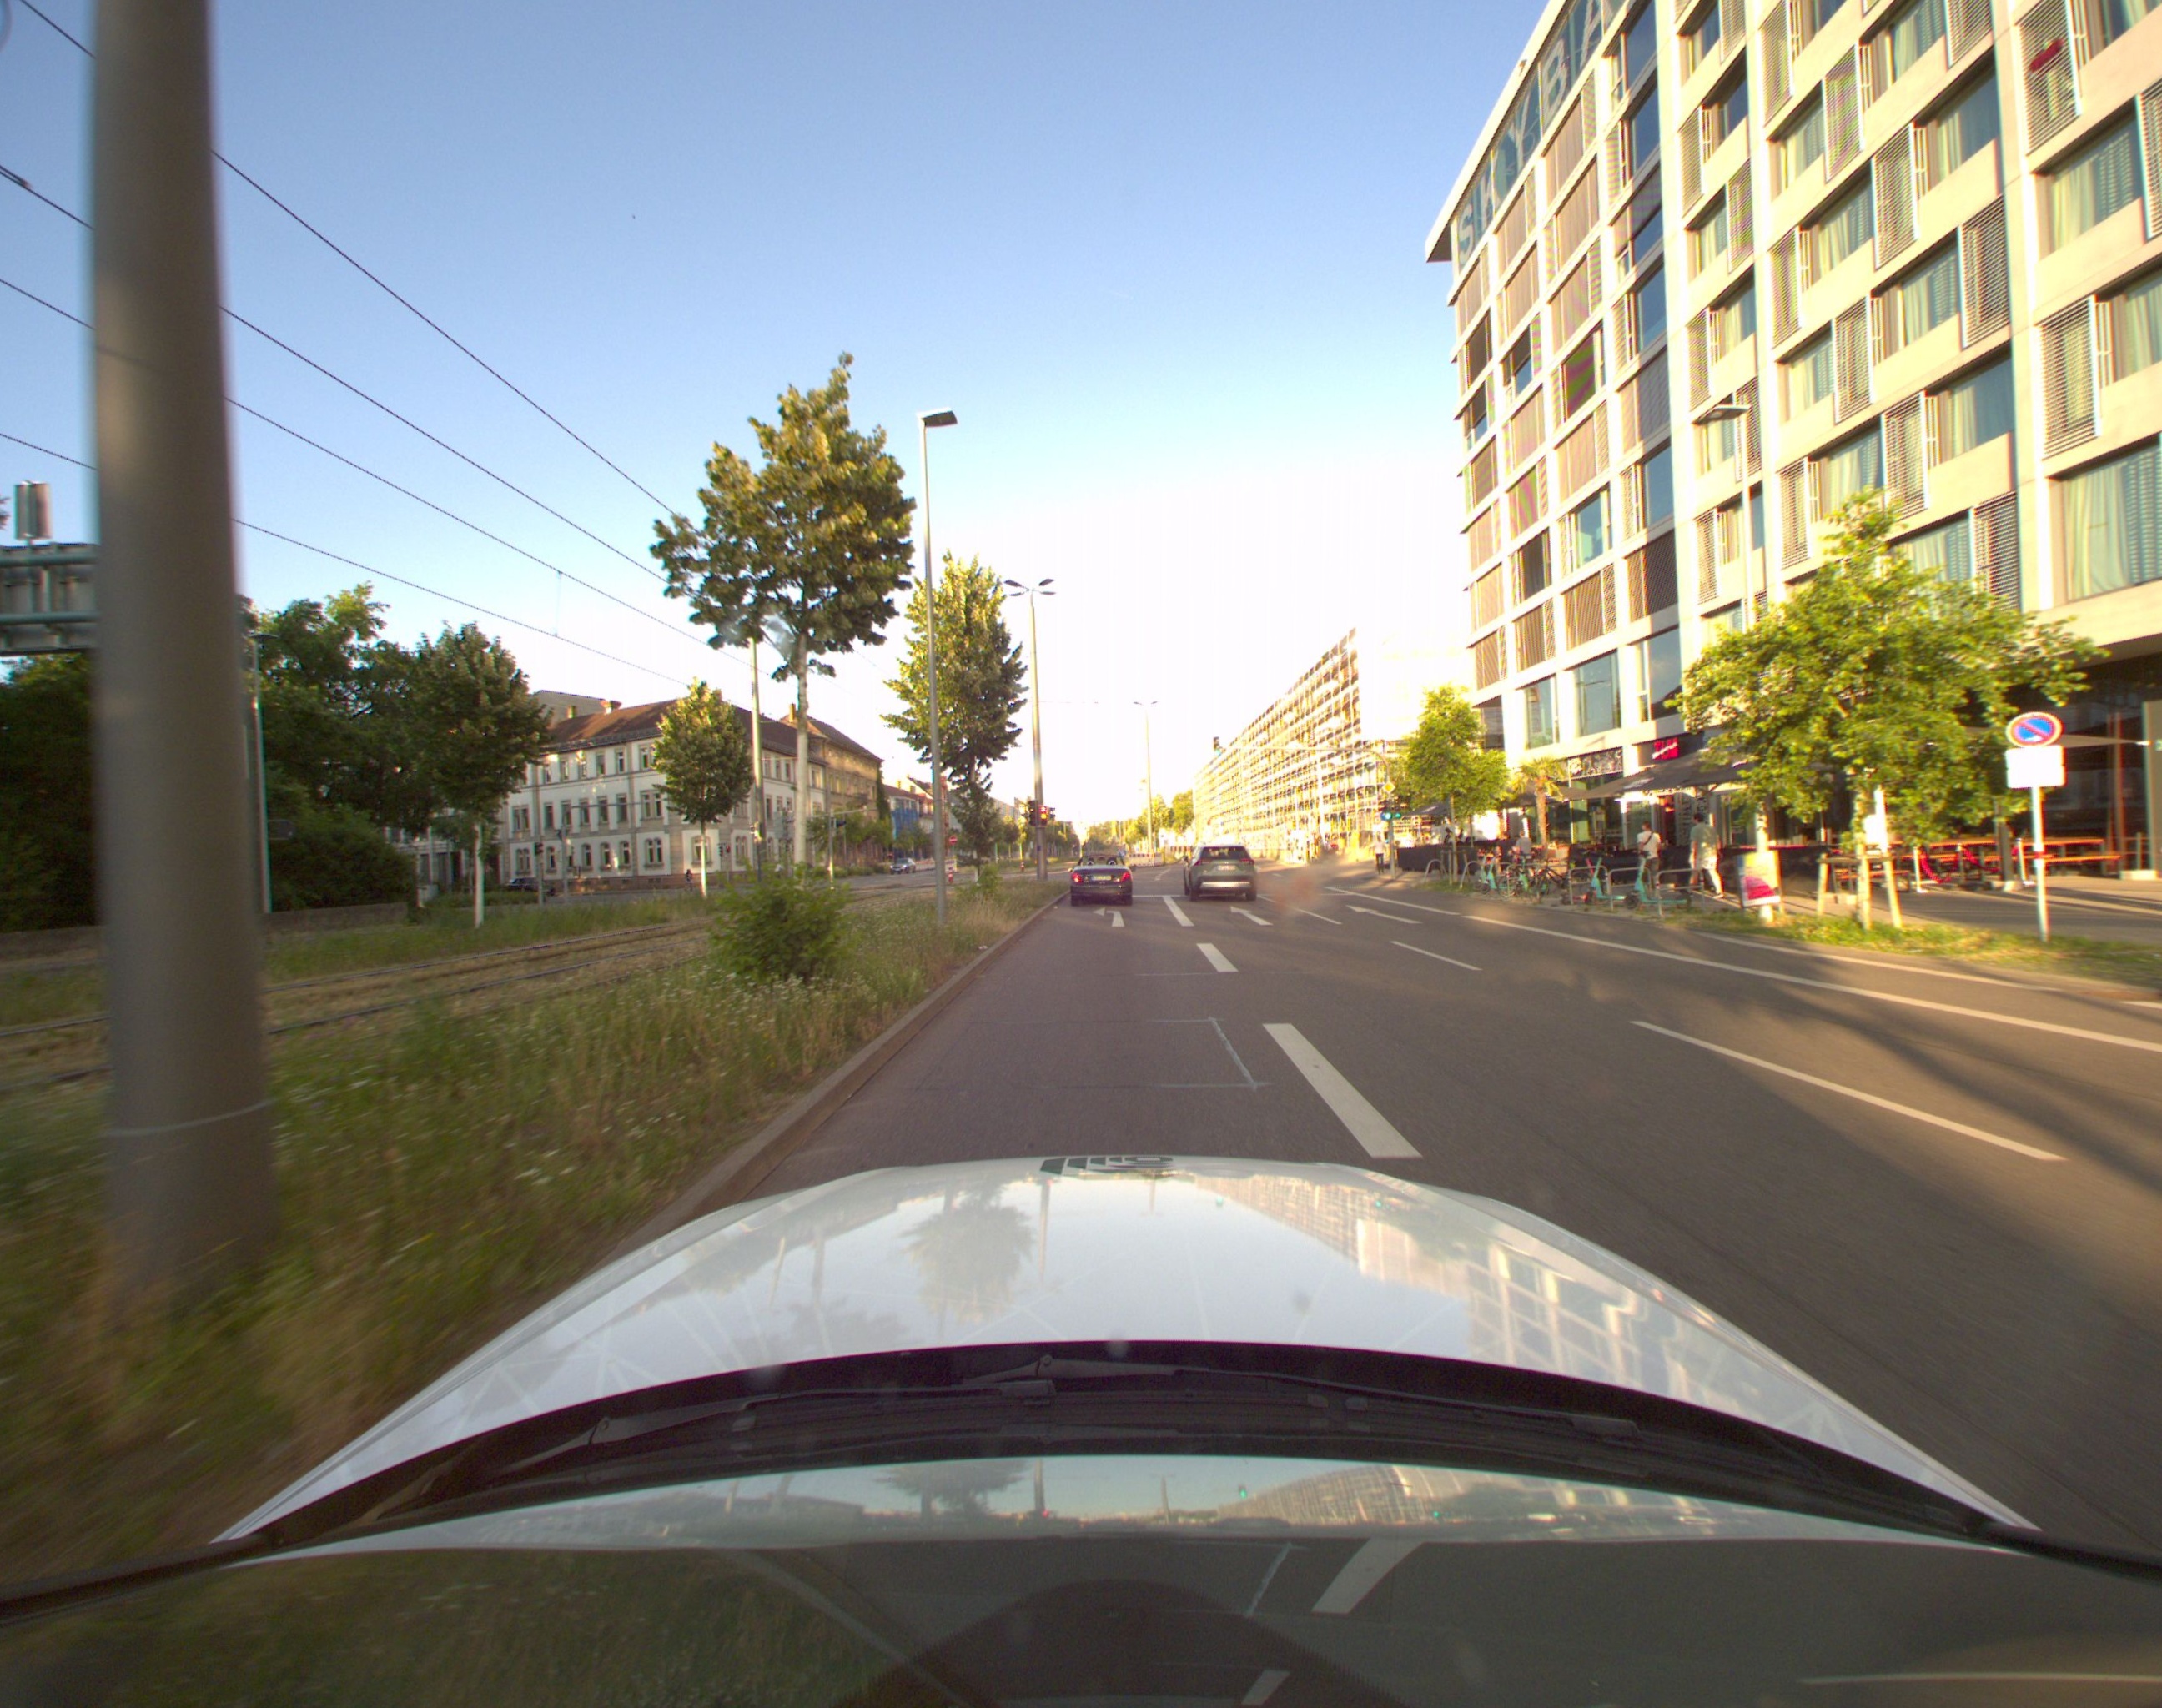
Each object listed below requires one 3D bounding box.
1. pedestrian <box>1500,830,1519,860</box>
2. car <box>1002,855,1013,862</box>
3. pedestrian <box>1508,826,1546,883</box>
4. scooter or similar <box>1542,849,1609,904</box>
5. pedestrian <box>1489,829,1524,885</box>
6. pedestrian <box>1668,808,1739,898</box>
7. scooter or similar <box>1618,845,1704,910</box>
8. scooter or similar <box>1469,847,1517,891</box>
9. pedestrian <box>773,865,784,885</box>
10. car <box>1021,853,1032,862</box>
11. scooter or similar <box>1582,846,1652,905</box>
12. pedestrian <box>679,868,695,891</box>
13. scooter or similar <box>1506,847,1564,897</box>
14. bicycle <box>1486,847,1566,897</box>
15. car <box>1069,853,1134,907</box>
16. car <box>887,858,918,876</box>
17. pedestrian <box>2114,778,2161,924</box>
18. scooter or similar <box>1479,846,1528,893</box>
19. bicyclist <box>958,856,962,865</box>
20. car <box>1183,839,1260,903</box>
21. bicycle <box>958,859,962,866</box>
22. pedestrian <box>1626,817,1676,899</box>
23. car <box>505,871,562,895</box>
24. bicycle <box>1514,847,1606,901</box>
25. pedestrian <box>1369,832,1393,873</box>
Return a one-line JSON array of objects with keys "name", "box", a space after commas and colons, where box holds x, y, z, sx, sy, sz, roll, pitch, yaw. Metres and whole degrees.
[{"name": "pedestrian", "box": [20.288, -0.431, 38.531, 0.607, 1.319, 0.624, -5, 0, 20]}, {"name": "car", "box": [-15.514, 0.926, 171.179, 1.650, 1.431, 3.899, 0, 1, 4]}, {"name": "pedestrian", "box": [14.180, 0.022, 25.925, 0.682, 1.734, 0.761, -5, 0, 1]}, {"name": "scooter or similar", "box": [11.536, 0.527, 19.035, 1.151, 1.191, 0.510, -4, -2, 3]}, {"name": "pedestrian", "box": [13.452, 0.100, 25.777, 0.651, 1.702, 0.689, -4, 0, 1]}, {"name": "pedestrian", "box": [13.826, -0.016, 18.114, 0.819, 1.888, 0.868, -4, -1, 10]}, {"name": "scooter or similar", "box": [11.872, 0.475, 16.721, 1.280, 1.218, 0.539, -5, -1, 25]}, {"name": "scooter or similar", "box": [12.289, 0.443, 24.308, 1.049, 1.223, 0.598, -4, 0, -3]}, {"name": "pedestrian", "box": [-25.981, 1.789, 69.907, 0.701, 1.715, 0.811, 0, 0, -7]}, {"name": "car", "box": [-11.439, 0.743, 170.659, 1.650, 1.964, 4.271, 0, 1, 4]}, {"name": "scooter or similar", "box": [11.973, 0.479, 18.234, 1.119, 1.213, 0.534, -5, -2, 17]}, {"name": "pedestrian", "box": [-26.624, 1.721, 55.009, 0.601, 1.458, 0.937, 0, 0, 3]}, {"name": "scooter or similar", "box": [11.957, 0.465, 21.467, 1.206, 1.201, 0.479, -5, 0, -3]}, {"name": "bicycle", "box": [12.019, 0.471, 22.010, 1.789, 1.193, 0.567, -5, 0, -3]}, {"name": "car", "box": [0.613, 0.667, 23.287, 1.668, 1.352, 4.002, -1, 1, 2]}, {"name": "car", "box": [-18.559, 1.328, 84.874, 1.985, 1.580, 4.127, -4, 0, 3]}, {"name": "pedestrian", "box": [14.018, -0.058, 10.231, 0.739, 1.849, 0.943, -5, -1, 11]}, {"name": "scooter or similar", "box": [11.992, 0.442, 23.135, 1.054, 1.223, 0.551, -5, 0, 11]}, {"name": "bicyclist", "box": [-18.040, 0.934, 121.351, 0.589, 1.266, 0.458, -1, 0, -9]}, {"name": "car", "box": [4.082, 0.440, 24.222, 1.825, 1.672, 4.288, -1, 1, 4]}, {"name": "bicycle", "box": [-18.040, 1.244, 121.351, 0.589, 0.989, 1.551, -1, 0, -9]}, {"name": "pedestrian", "box": [13.034, 0.094, 18.635, 0.572, 1.786, 0.832, -4, -1, 15]}, {"name": "car", "box": [-38.730, 2.030, 57.593, 3.948, 1.555, 1.801, 0, 1, 32]}, {"name": "bicycle", "box": [11.885, 0.495, 20.239, 1.840, 1.181, 0.608, -5, 0, 1]}, {"name": "pedestrian", "box": [13.970, -0.060, 37.950, 0.765, 1.847, 0.679, -3, 0, 1]}]
